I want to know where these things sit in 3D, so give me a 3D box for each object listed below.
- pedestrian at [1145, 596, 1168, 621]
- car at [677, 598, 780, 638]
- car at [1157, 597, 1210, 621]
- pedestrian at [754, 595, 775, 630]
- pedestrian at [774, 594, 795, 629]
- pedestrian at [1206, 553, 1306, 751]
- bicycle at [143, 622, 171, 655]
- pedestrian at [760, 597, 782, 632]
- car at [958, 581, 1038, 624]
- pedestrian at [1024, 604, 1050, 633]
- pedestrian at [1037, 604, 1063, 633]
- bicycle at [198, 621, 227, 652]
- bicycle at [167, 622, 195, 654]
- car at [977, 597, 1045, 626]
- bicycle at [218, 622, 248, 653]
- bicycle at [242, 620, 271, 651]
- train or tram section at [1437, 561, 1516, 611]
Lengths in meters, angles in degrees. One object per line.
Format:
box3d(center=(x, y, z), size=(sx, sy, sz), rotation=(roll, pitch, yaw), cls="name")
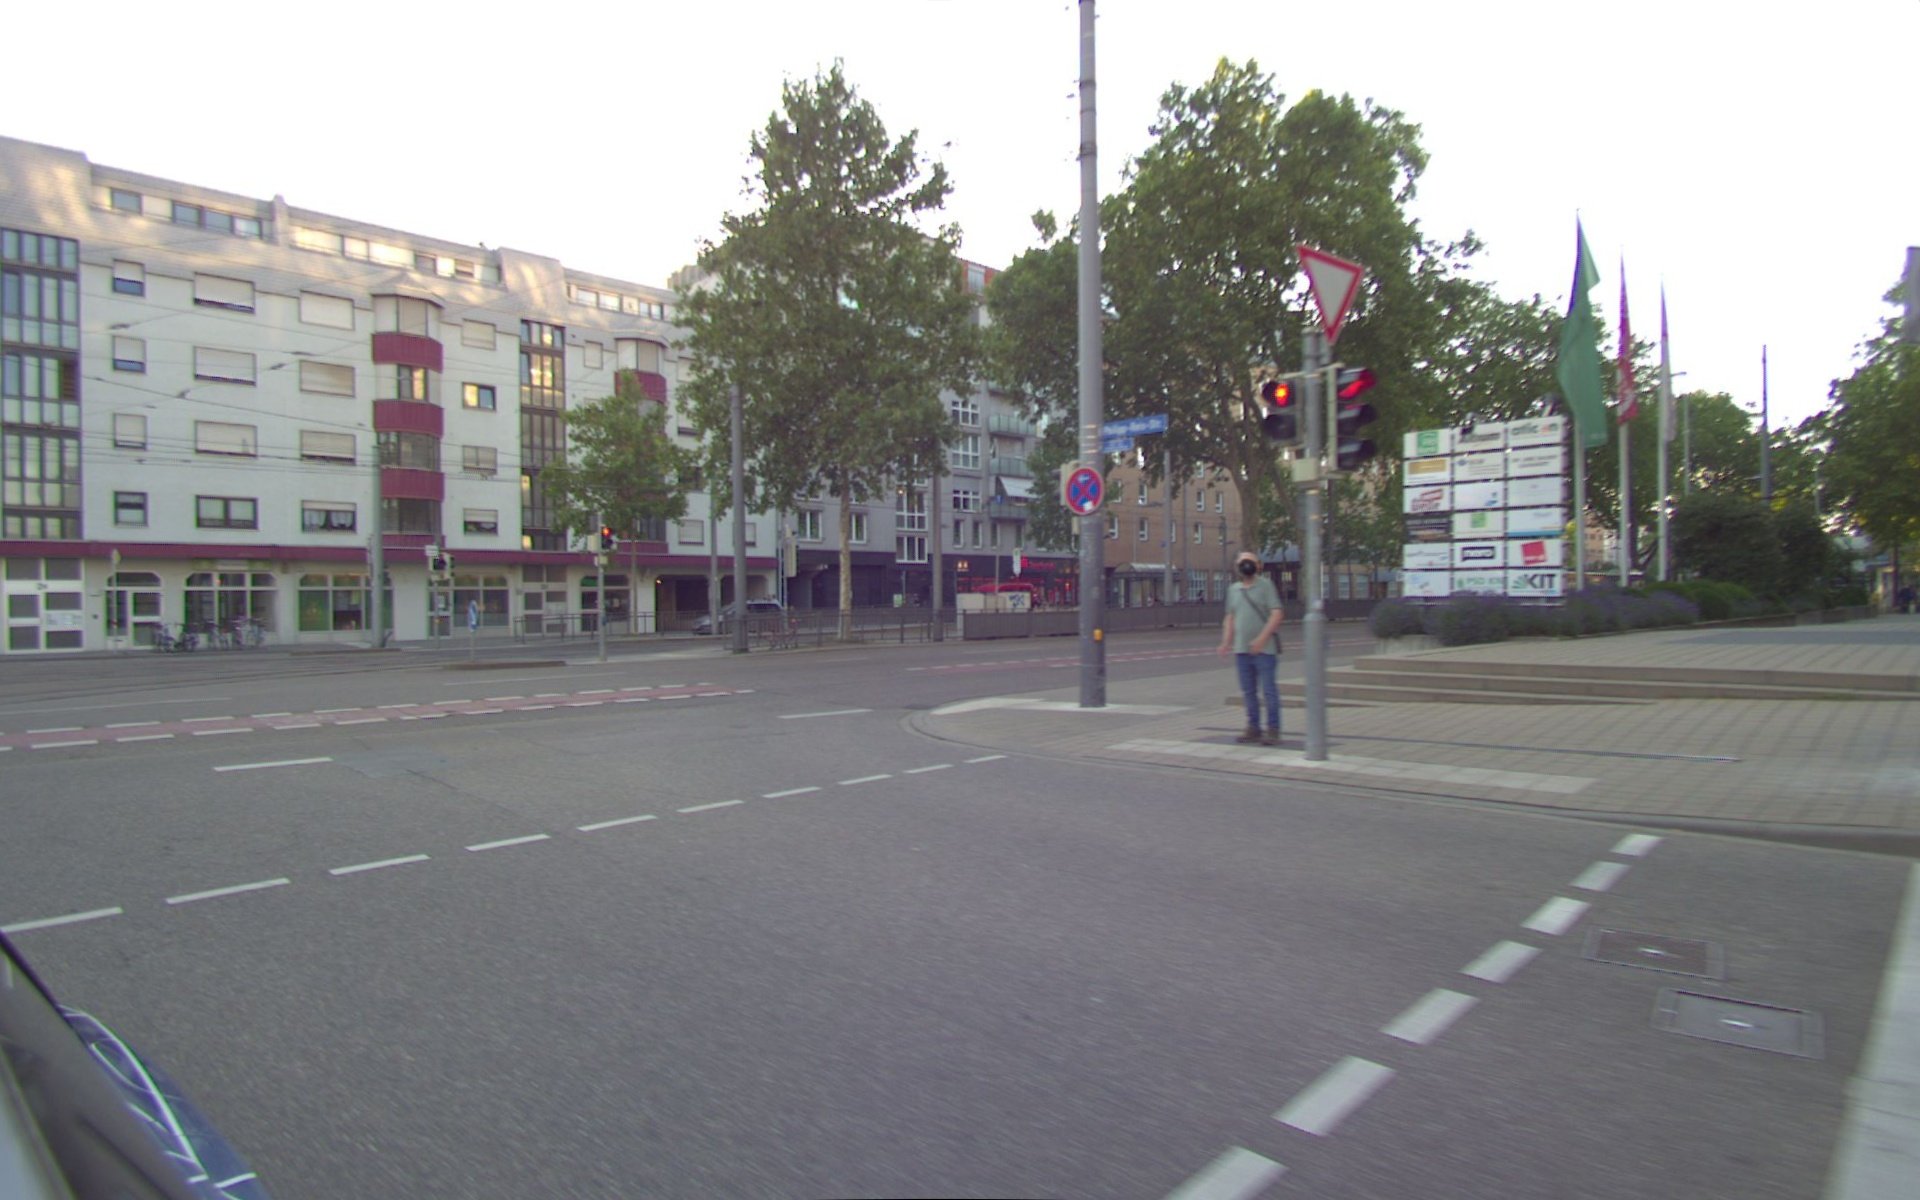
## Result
box3d(center=(11.793, 0.526, 60.792), size=(0.983, 1.464, 0.938), rotation=(-1, -1, -44), cls="pedestrian")
box3d(center=(-9.954, 0.744, 43.654), size=(4.040, 1.608, 1.668), rotation=(-1, -1, -43), cls="car")
box3d(center=(15.902, 0.623, 71.872), size=(4.040, 1.608, 1.668), rotation=(-1, -1, -43), cls="car")
box3d(center=(-10.308, 0.641, 53.321), size=(0.823, 1.820, 0.692), rotation=(-1, -1, -42), cls="pedestrian")
box3d(center=(-9.310, 0.625, 53.736), size=(0.823, 1.820, 0.692), rotation=(-1, -1, -42), cls="pedestrian")
box3d(center=(2.666, 0.448, 9.149), size=(0.537, 1.714, 0.709), rotation=(-1, -1, -16), cls="pedestrian")
box3d(center=(-27.038, 1.281, 34.077), size=(1.903, 1.054, 0.508), rotation=(-2, -1, 44), cls="bicycle")
box3d(center=(-9.825, 0.758, 52.627), size=(0.823, 1.820, 0.692), rotation=(-1, -1, -42), cls="pedestrian")
box3d(center=(2.394, 0.141, 62.517), size=(5.005, 2.560, 1.854), rotation=(-1, -1, -42), cls="car")
box3d(center=(4.014, 0.980, 52.956), size=(0.983, 1.464, 0.938), rotation=(-1, -1, -44), cls="pedestrian")
box3d(center=(4.760, 0.974, 53.619), size=(0.983, 1.464, 0.938), rotation=(-1, -1, -44), cls="pedestrian")
box3d(center=(-26.026, 1.252, 35.211), size=(1.903, 1.054, 0.508), rotation=(-2, -1, 44), cls="bicycle")
box3d(center=(-26.598, 1.271, 34.543), size=(1.903, 1.054, 0.508), rotation=(-2, -1, 44), cls="bicycle")
box3d(center=(3.052, 0.679, 60.034), size=(4.040, 1.608, 1.668), rotation=(-1, -1, -43), cls="car")
box3d(center=(-25.578, 1.302, 35.597), size=(1.903, 1.054, 0.508), rotation=(-2, -1, 44), cls="bicycle")
box3d(center=(-24.947, 1.261, 35.874), size=(1.903, 1.054, 0.508), rotation=(-2, -1, 44), cls="bicycle")
box3d(center=(38.258, -1.031, 74.763), size=(2.338, 3.414, 10.384), rotation=(-2, -1, 43), cls="train or tram section")
